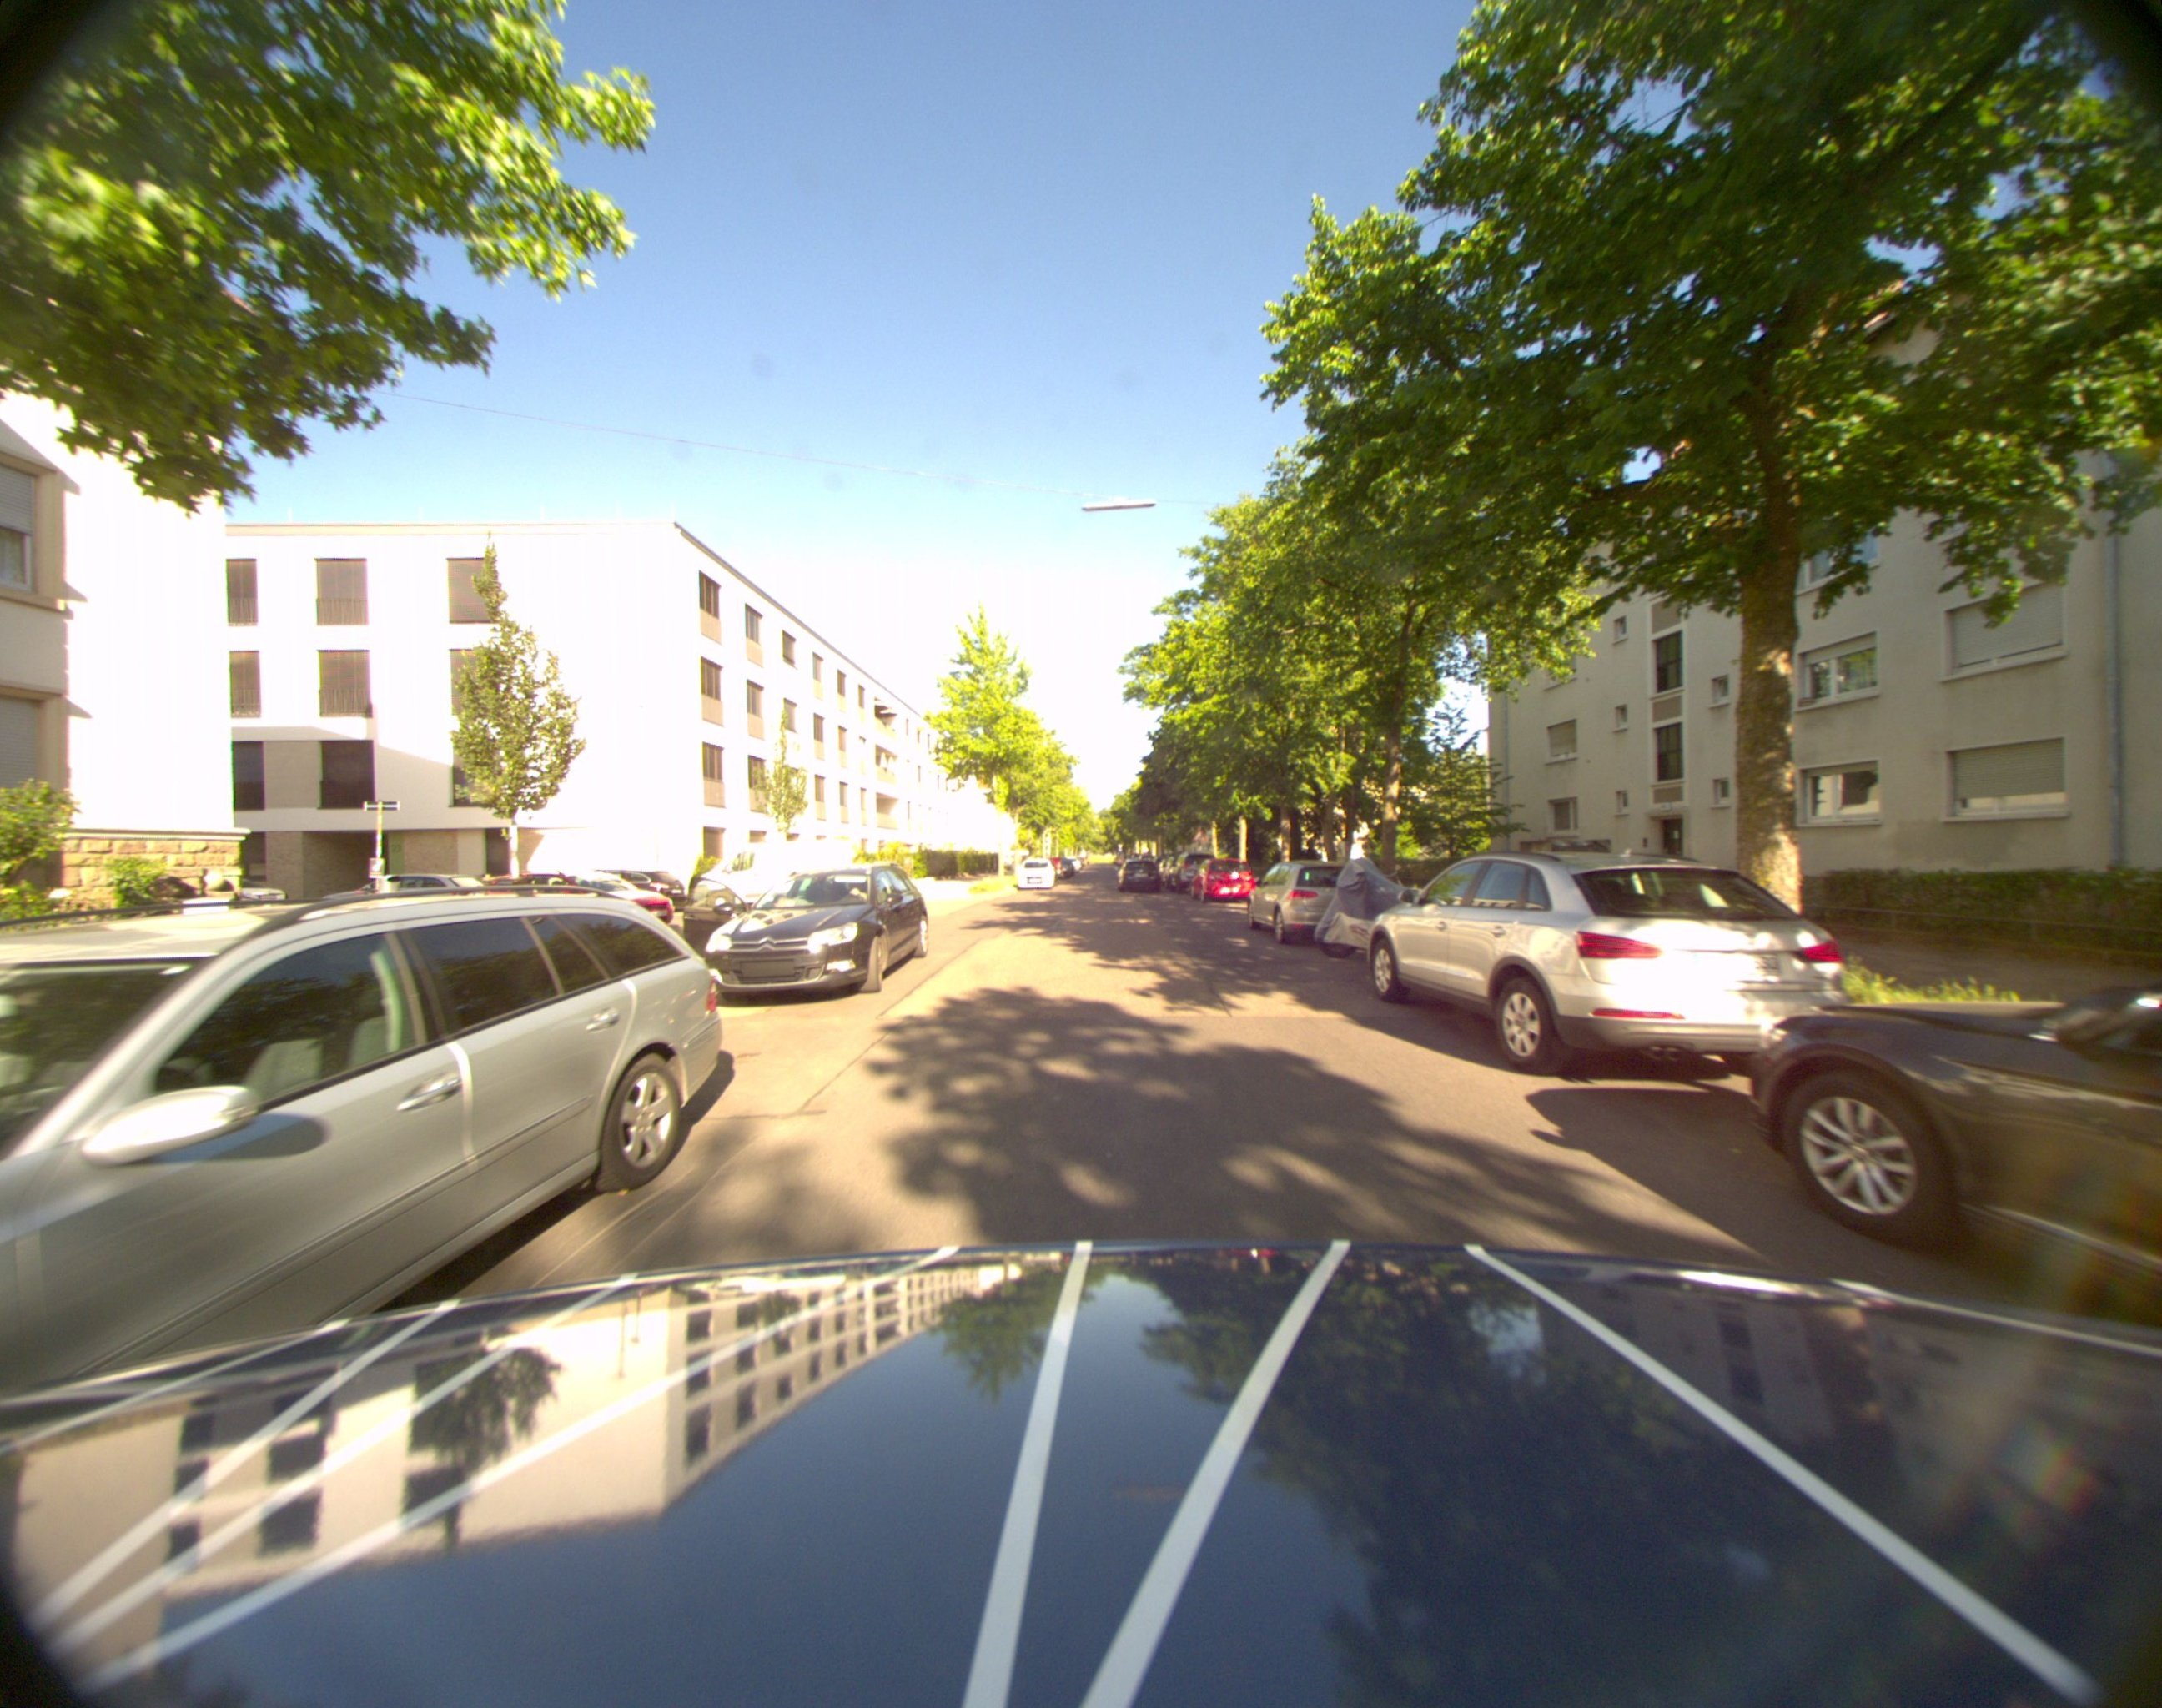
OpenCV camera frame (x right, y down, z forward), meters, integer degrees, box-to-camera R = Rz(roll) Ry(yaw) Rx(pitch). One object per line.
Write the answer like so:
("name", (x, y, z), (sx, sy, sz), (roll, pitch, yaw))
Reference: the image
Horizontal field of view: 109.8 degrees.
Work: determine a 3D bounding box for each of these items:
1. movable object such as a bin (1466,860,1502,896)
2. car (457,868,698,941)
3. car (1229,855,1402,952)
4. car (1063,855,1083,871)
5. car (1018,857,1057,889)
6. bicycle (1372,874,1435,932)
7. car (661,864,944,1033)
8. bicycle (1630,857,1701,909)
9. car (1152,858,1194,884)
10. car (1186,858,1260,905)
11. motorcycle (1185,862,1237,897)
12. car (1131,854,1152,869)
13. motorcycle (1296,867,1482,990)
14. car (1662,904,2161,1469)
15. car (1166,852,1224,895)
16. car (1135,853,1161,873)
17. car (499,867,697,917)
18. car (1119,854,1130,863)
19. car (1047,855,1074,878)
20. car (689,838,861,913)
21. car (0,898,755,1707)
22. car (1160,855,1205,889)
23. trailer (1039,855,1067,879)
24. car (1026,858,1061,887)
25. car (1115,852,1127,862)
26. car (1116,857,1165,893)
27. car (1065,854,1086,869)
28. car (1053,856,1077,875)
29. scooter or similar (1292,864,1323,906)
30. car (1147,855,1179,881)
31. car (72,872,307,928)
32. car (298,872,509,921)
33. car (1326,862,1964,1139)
("movable object such as a bin", (12.249, 0.735, 23.097), (0.695, 1.062, 0.760), (-1, 1, 3))
("car", (-11.516, 1.110, 17.450), (4.724, 1.461, 1.955), (-1, 1, 16))
("car", (4.188, 0.802, 14.450), (2.047, 1.515, 4.606), (0, 0, 2))
("car", (-0.857, 0.874, 78.025), (1.786, 1.509, 4.686), (-2, 0, -3))
("car", (-2.115, 0.910, 38.055), (1.737, 1.478, 4.009), (-1, 0, 0))
("bicycle", (6.637, 0.983, 15.761), (0.532, 1.009, 2.091), (-8, -1, 7))
("car", (-3.246, 0.987, 10.143), (1.900, 1.515, 4.966), (-2, 1, 0))
("bicycle", (15.118, 0.723, 19.712), (0.399, 1.281, 1.914), (0, 0, 1))
("car", (5.133, 0.906, 42.950), (1.789, 1.344, 4.481), (0, 0, 0))
("car", (4.749, 0.875, 26.027), (1.861, 1.461, 4.182), (-1, 0, 2))
("motorcycle", (5.022, 0.961, 29.325), (1.956, 1.324, 0.788), (0, 1, 9))
("car", (5.985, 0.710, 75.572), (1.798, 1.443, 4.489), (0, 0, 1))
("motorcycle", (4.277, 0.953, 10.710), (0.991, 1.495, 2.227), (0, 0, -38))
("car", (3.850, 0.995, 1.489), (1.732, 1.438, 4.821), (1, 0, 1))
("car", (4.744, 0.767, 32.288), (1.772, 1.678, 4.814), (0, 0, 0))
("car", (5.696, 0.745, 65.249), (1.846, 1.647, 5.087), (0, 0, 1))
("car", (-15.161, 1.169, 24.080), (4.940, 1.461, 2.047), (-1, 0, 0))
("car", (7.058, 0.783, 122.745), (1.606, 1.382, 3.812), (-1, 0, 1))
("car", (-1.515, 0.907, 57.690), (1.797, 1.633, 4.819), (-3, 0, 1))
("car", (-10.040, 0.636, 25.228), (5.062, 2.292, 2.230), (-1, 0, -22))
("car", (-3.013, 1.050, 2.351), (1.826, 1.461, 4.909), (-2, 0, 0))
("car", (4.930, 0.847, 37.523), (1.773, 1.522, 4.420), (-1, 0, 2))
("trailer", (-1.928, 0.871, 52.975), (1.578, 1.569, 3.192), (-3, 0, 3))
("car", (-2.035, 1.008, 42.627), (1.674, 1.442, 4.179), (-3, 0, 0))
("car", (7.386, 0.528, 139.679), (1.891, 1.797, 3.914), (-1, 0, -2))
("car", (2.562, 0.865, 33.767), (1.813, 1.437, 4.366), (1, 0, 0))
("car", (-0.607, 0.802, 84.014), (1.901, 1.638, 4.863), (-2, 0, 3))
("car", (-1.285, 0.940, 63.864), (1.722, 1.507, 4.345), (-2, 0, 2))
("scooter or similar", (7.108, 0.944, 23.799), (0.555, 1.228, 1.517), (0, 1, 31))
("car", (5.170, 0.874, 48.164), (1.710, 1.568, 4.482), (0, 0, 2))
("car", (-27.895, 1.418, 23.916), (4.941, 1.461, 1.965), (-2, 0, -1))
("car", (-21.255, 1.315, 23.989), (4.940, 1.420, 1.962), (-1, -1, 0))
("car", (4.029, 0.863, 6.737), (2.069, 1.515, 4.721), (-1, 0, -2))
